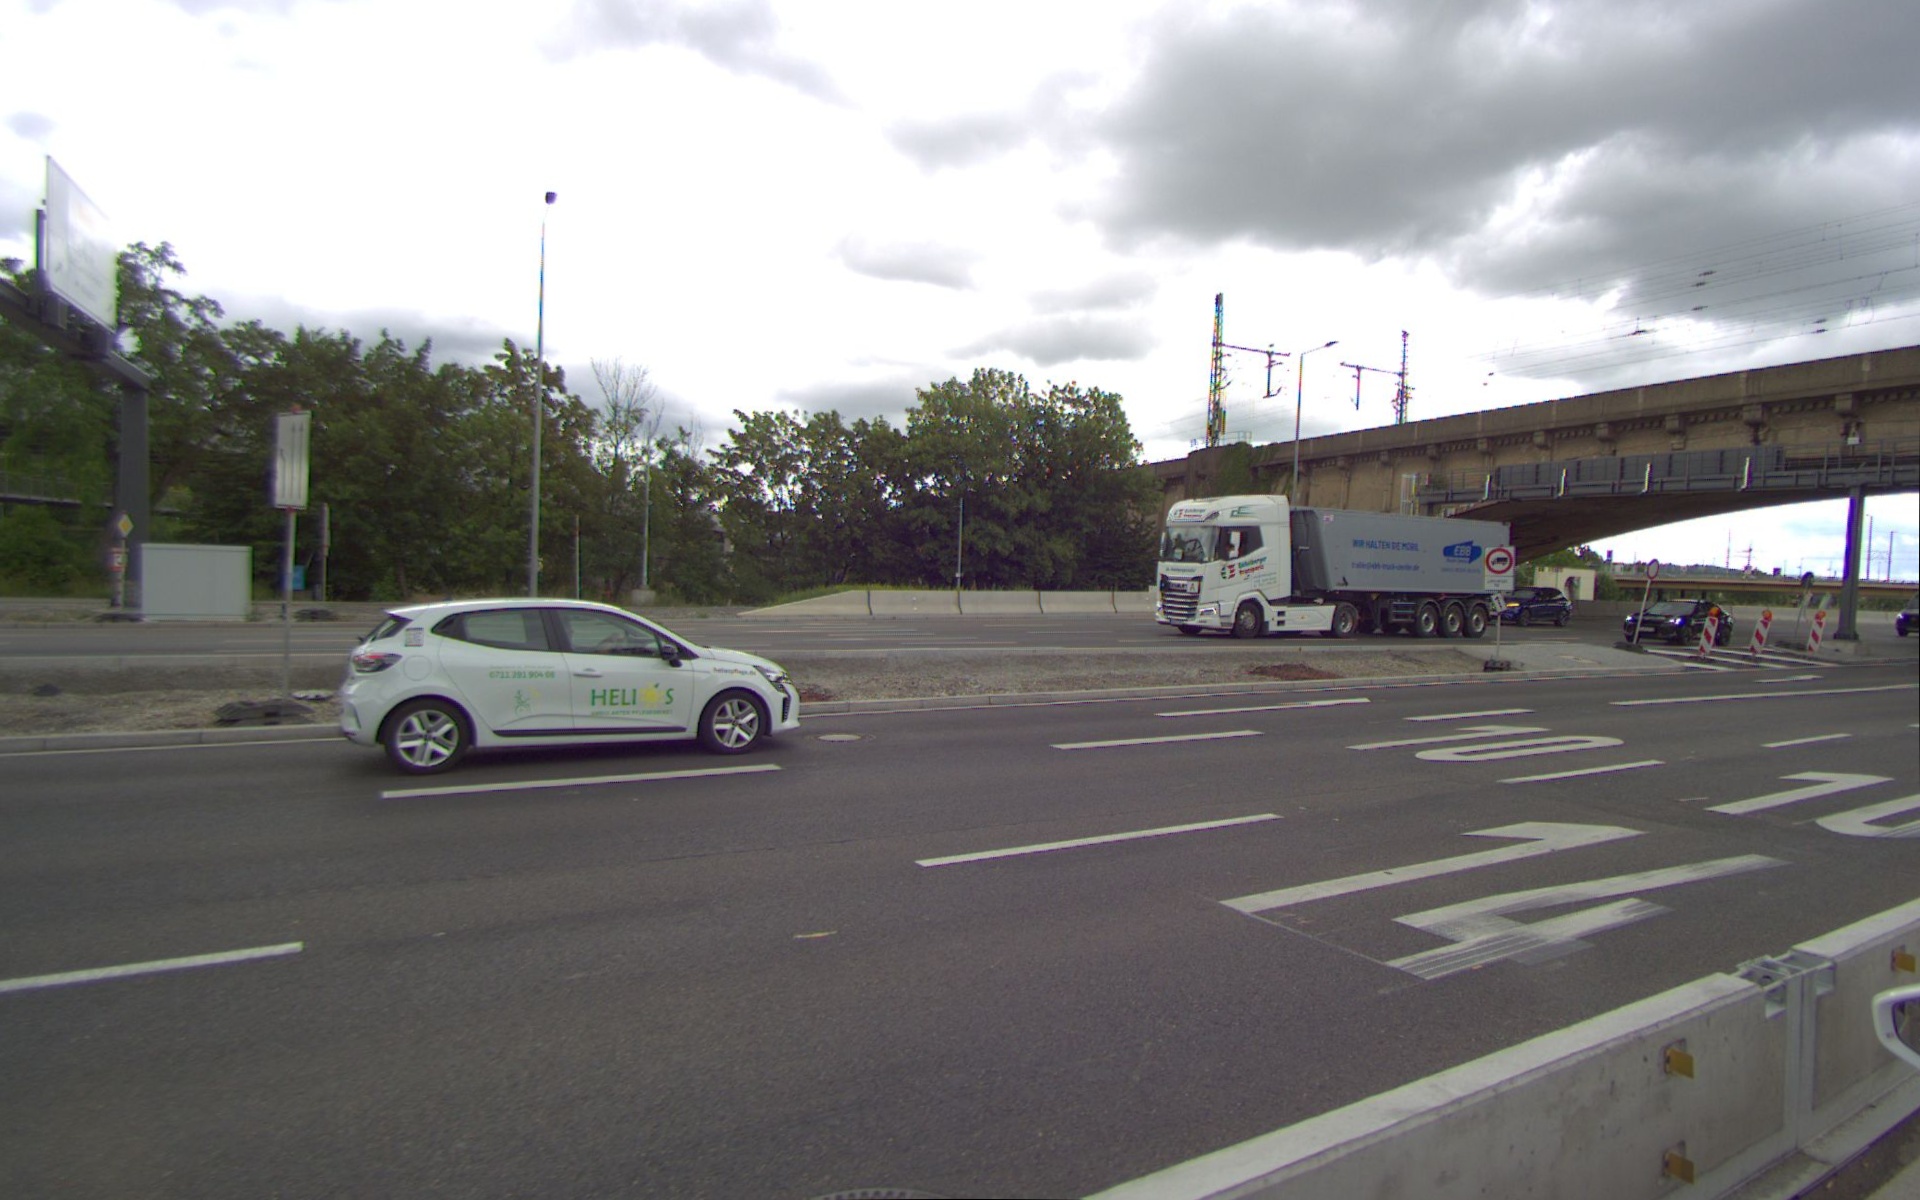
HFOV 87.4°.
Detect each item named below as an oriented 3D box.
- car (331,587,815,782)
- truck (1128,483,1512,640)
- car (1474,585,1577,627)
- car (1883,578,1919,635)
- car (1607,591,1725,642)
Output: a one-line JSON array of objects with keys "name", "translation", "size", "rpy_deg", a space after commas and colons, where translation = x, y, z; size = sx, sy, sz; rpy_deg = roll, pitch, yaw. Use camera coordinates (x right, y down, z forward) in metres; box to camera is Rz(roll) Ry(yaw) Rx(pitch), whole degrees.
[{"name": "car", "translation": [-3.494, 0.663, 9.411], "size": [3.948, 1.504, 1.569], "rpy_deg": [0, 1, -29]}, {"name": "truck", "translation": [11.580, -1.008, 31.162], "size": [13.822, 4.116, 2.885], "rpy_deg": [0, 2, -30]}, {"name": "car", "translation": [24.158, 0.278, 42.853], "size": [4.436, 1.706, 1.876], "rpy_deg": [1, 0, -31]}, {"name": "car", "translation": [50.674, 0.367, 51.435], "size": [6.047, 2.814, 2.213], "rpy_deg": [1, 2, -18]}, {"name": "car", "translation": [24.134, 0.596, 34.304], "size": [4.401, 1.642, 1.697], "rpy_deg": [1, -1, -31]}]
